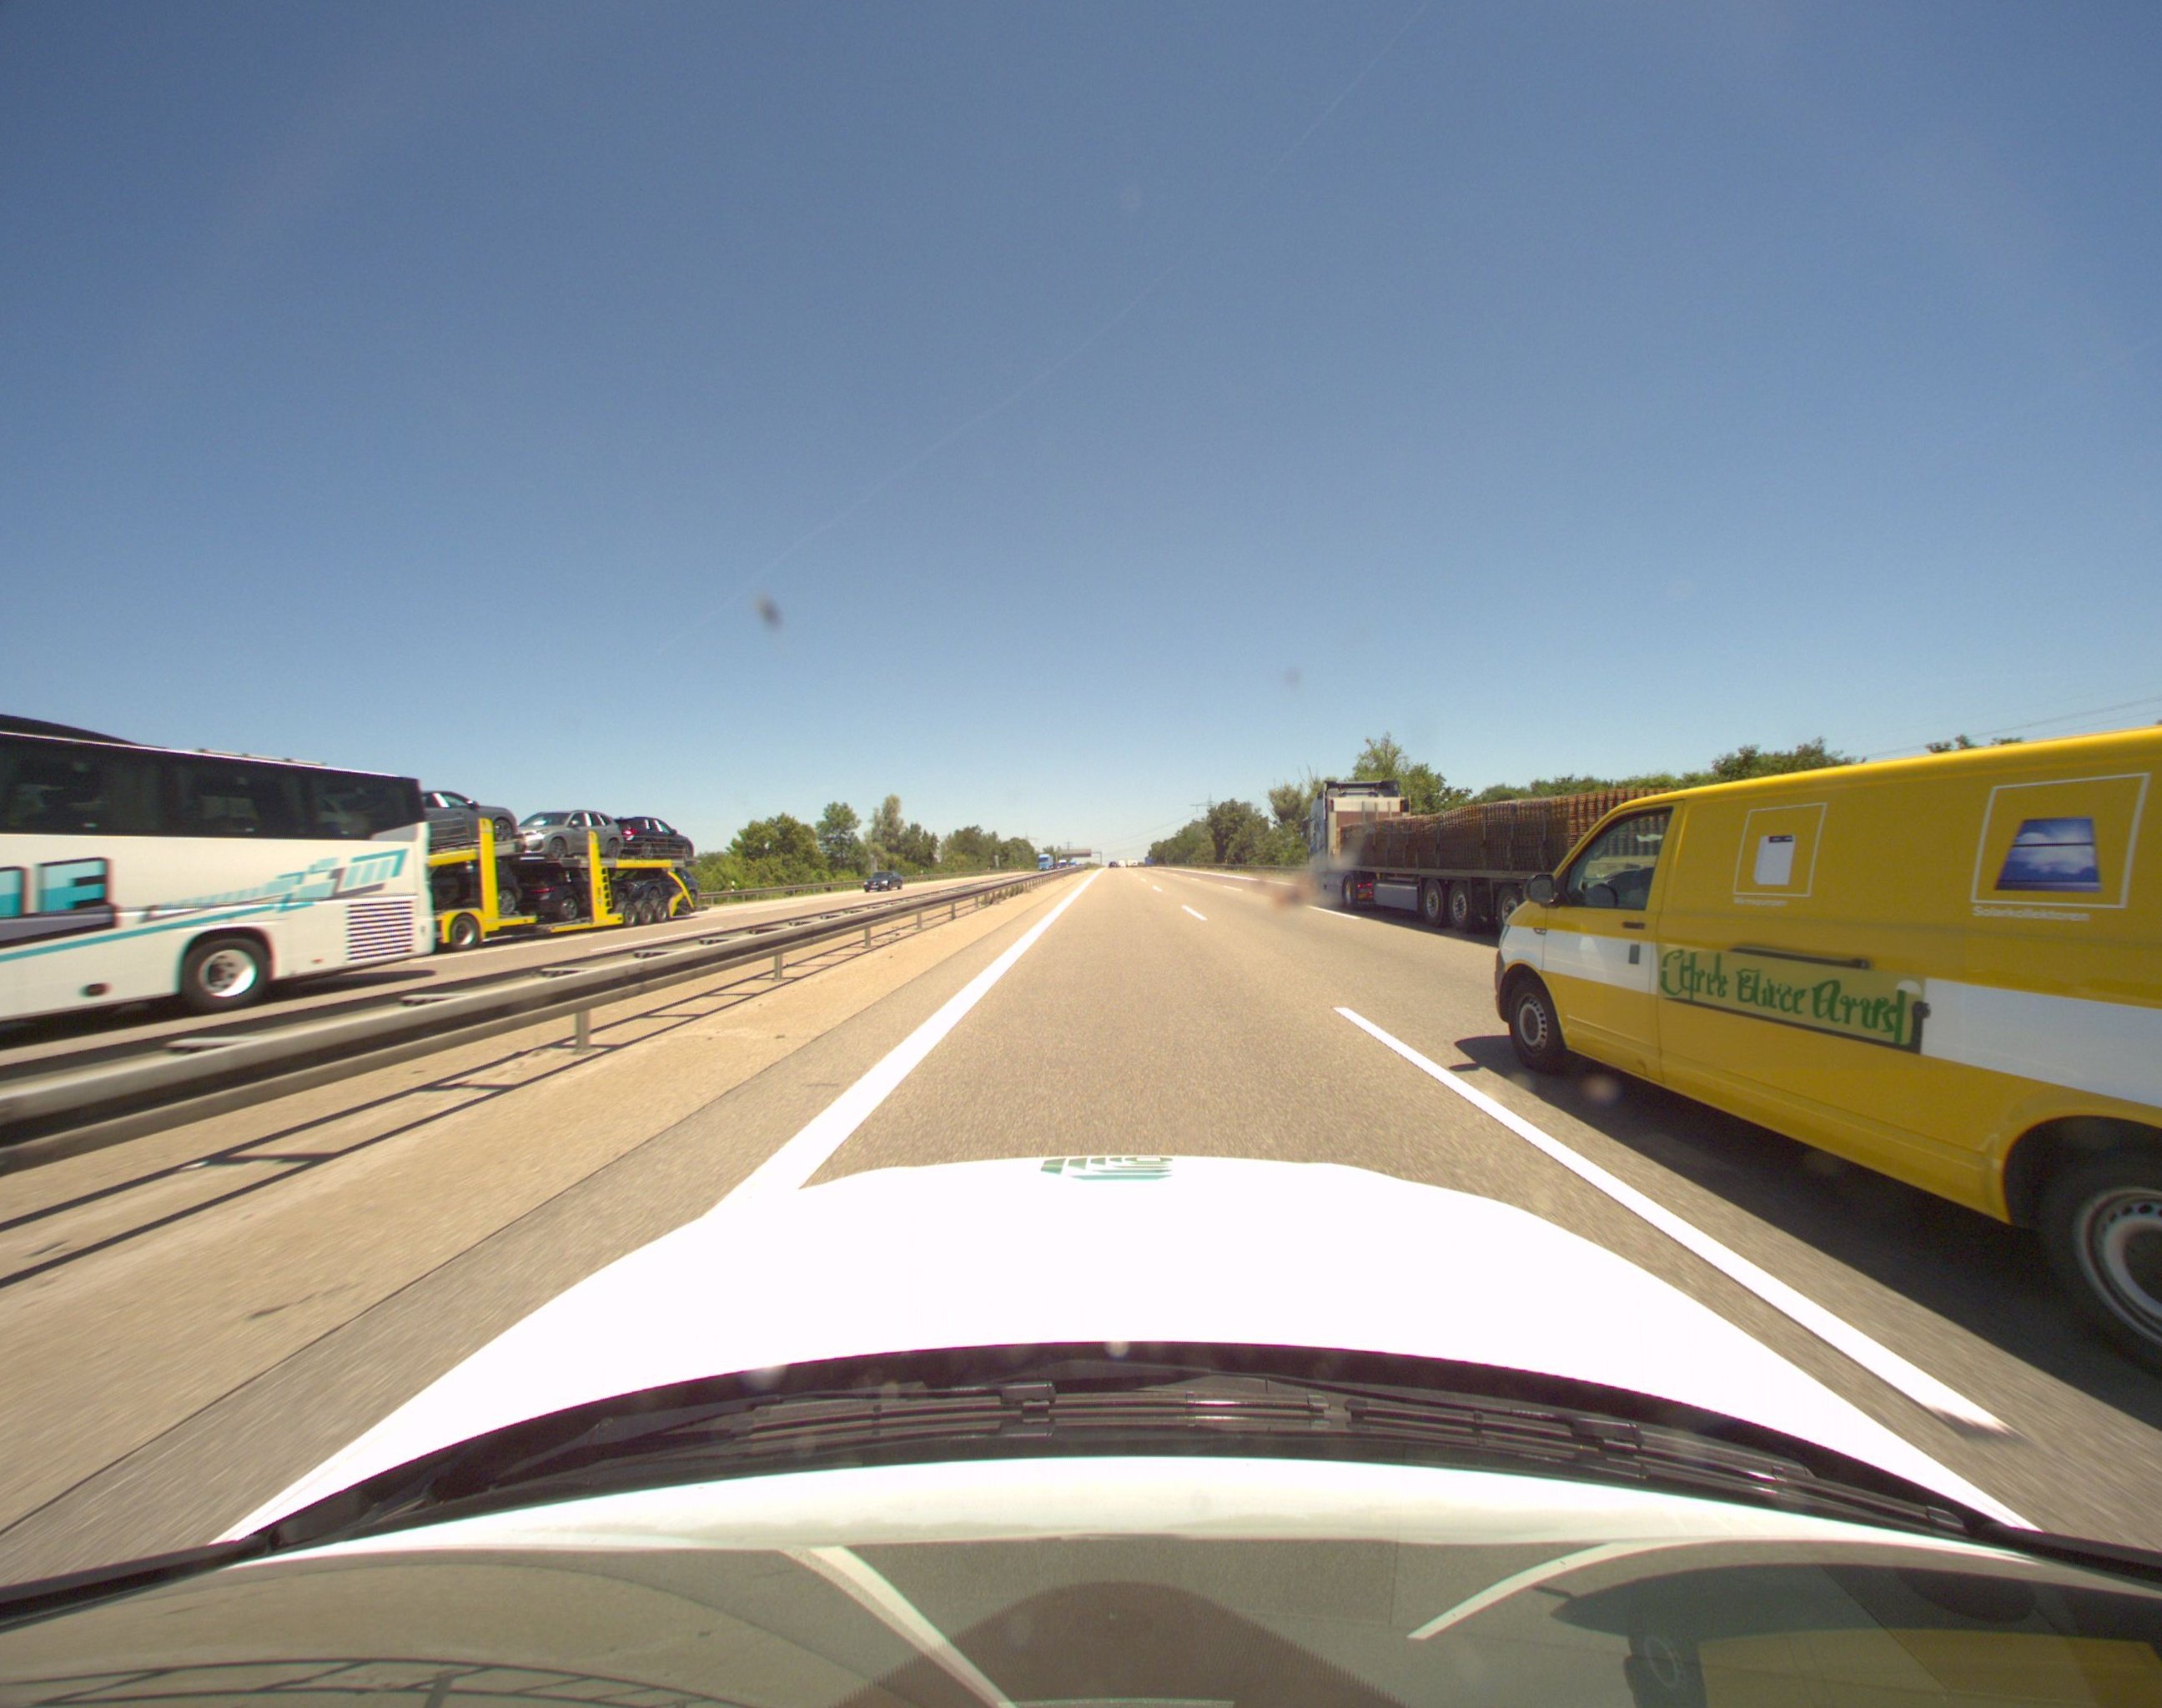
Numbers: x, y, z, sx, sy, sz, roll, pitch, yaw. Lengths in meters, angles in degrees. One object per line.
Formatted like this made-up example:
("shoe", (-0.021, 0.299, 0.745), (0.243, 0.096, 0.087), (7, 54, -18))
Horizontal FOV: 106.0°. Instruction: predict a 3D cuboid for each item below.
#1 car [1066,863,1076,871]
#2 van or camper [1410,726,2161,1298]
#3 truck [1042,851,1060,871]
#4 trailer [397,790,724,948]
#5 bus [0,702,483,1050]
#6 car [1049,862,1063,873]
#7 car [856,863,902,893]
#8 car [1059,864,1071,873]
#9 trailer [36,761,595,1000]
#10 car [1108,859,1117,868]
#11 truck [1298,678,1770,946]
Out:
("car", (-2.288, 3.096, 191.339), (1.986, 1.690, 4.410), (-3, -1, 2))
("van or camper", (4.043, 0.535, 5.206), (1.986, 1.909, 4.973), (0, 0, 2))
("truck", (-7.730, 1.892, 211.196), (3.214, 4.720, 16.864), (-4, -1, 2))
("trailer", (-16.192, 0.437, 27.157), (2.910, 3.968, 11.655), (-4, 0, 2))
("bus", (-12.460, 0.298, 8.315), (2.684, 3.583, 12.798), (-4, 0, 2))
("car", (-4.306, 2.360, 140.695), (1.986, 1.604, 4.601), (-7, -1, 2))
("car", (-14.637, 1.716, 59.334), (1.987, 1.872, 4.582), (-5, -1, 1))
("car", (-3.216, 2.835, 162.085), (1.986, 1.690, 4.410), (-2, -1, 2))
("trailer", (-16.469, 0.489, 19.423), (2.910, 3.968, 10.540), (-4, 0, 2))
("car", (6.954, 2.173, 179.963), (1.784, 2.014, 3.889), (0, -1, 2))
("truck", (8.902, -0.496, 20.369), (2.958, 3.957, 16.617), (0, -1, 2))
